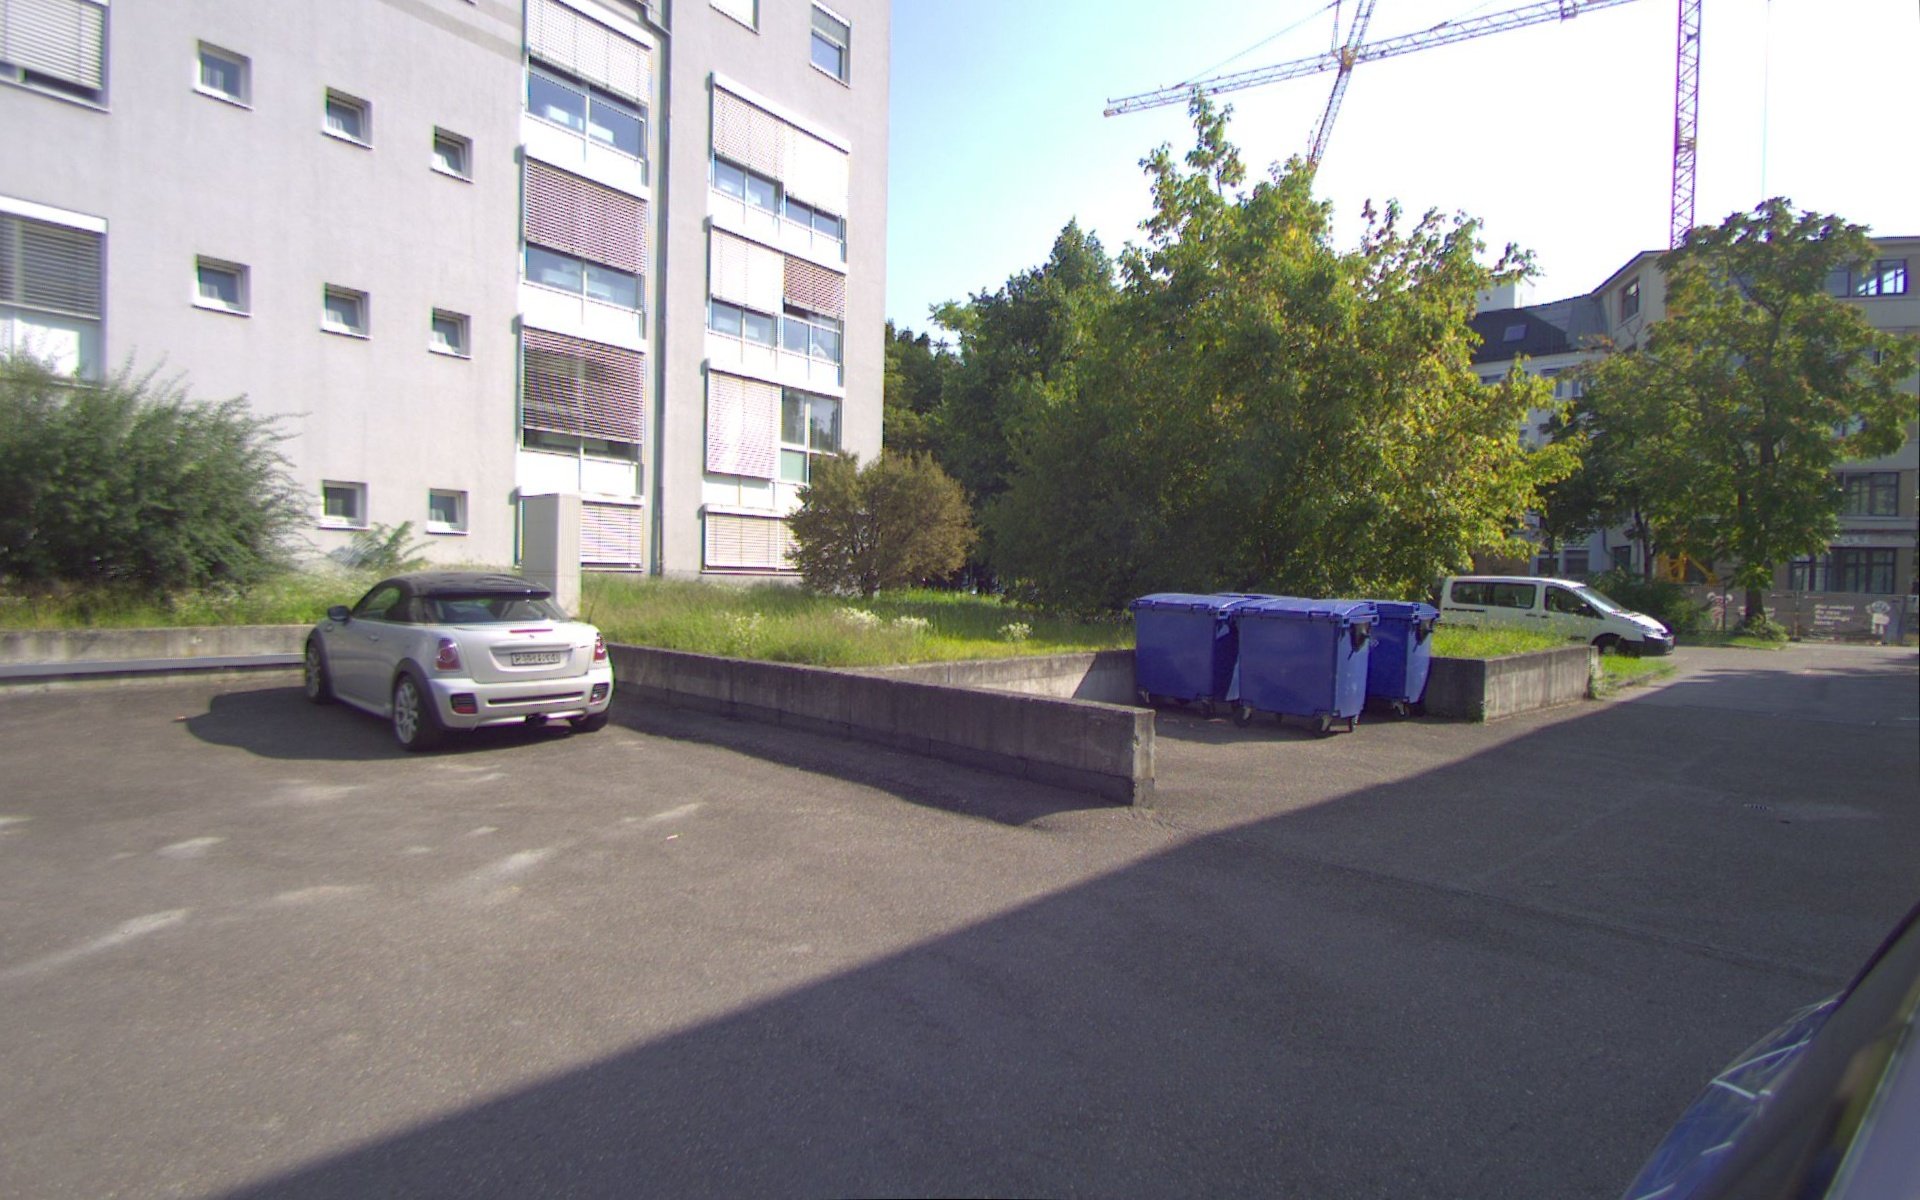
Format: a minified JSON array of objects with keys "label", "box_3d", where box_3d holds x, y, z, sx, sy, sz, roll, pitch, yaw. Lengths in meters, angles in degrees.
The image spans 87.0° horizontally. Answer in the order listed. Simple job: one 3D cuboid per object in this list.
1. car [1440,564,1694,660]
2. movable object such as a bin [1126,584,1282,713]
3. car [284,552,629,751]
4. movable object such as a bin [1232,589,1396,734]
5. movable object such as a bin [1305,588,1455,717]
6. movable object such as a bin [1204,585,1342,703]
[{"label":"car","box_3d":[14.176,0.198,23.863,1.877,1.955,4.783,1,2,-43]},{"label":"movable object such as a bin","box_3d":[2.791,0.508,11.580,1.254,1.344,1.254,2,1,45]},{"label":"car","box_3d":[-4.751,0.332,9.353,3.568,1.455,1.634,3,2,41]},{"label":"movable object such as a bin","box_3d":[3.720,0.583,10.624,1.210,1.368,1.255,2,1,42]},{"label":"movable object such as a bin","box_3d":[4.858,0.557,11.702,1.197,1.344,1.254,2,1,45]},{"label":"movable object such as a bin","box_3d":[3.923,0.506,12.668,1.197,1.344,1.254,2,1,45]}]
